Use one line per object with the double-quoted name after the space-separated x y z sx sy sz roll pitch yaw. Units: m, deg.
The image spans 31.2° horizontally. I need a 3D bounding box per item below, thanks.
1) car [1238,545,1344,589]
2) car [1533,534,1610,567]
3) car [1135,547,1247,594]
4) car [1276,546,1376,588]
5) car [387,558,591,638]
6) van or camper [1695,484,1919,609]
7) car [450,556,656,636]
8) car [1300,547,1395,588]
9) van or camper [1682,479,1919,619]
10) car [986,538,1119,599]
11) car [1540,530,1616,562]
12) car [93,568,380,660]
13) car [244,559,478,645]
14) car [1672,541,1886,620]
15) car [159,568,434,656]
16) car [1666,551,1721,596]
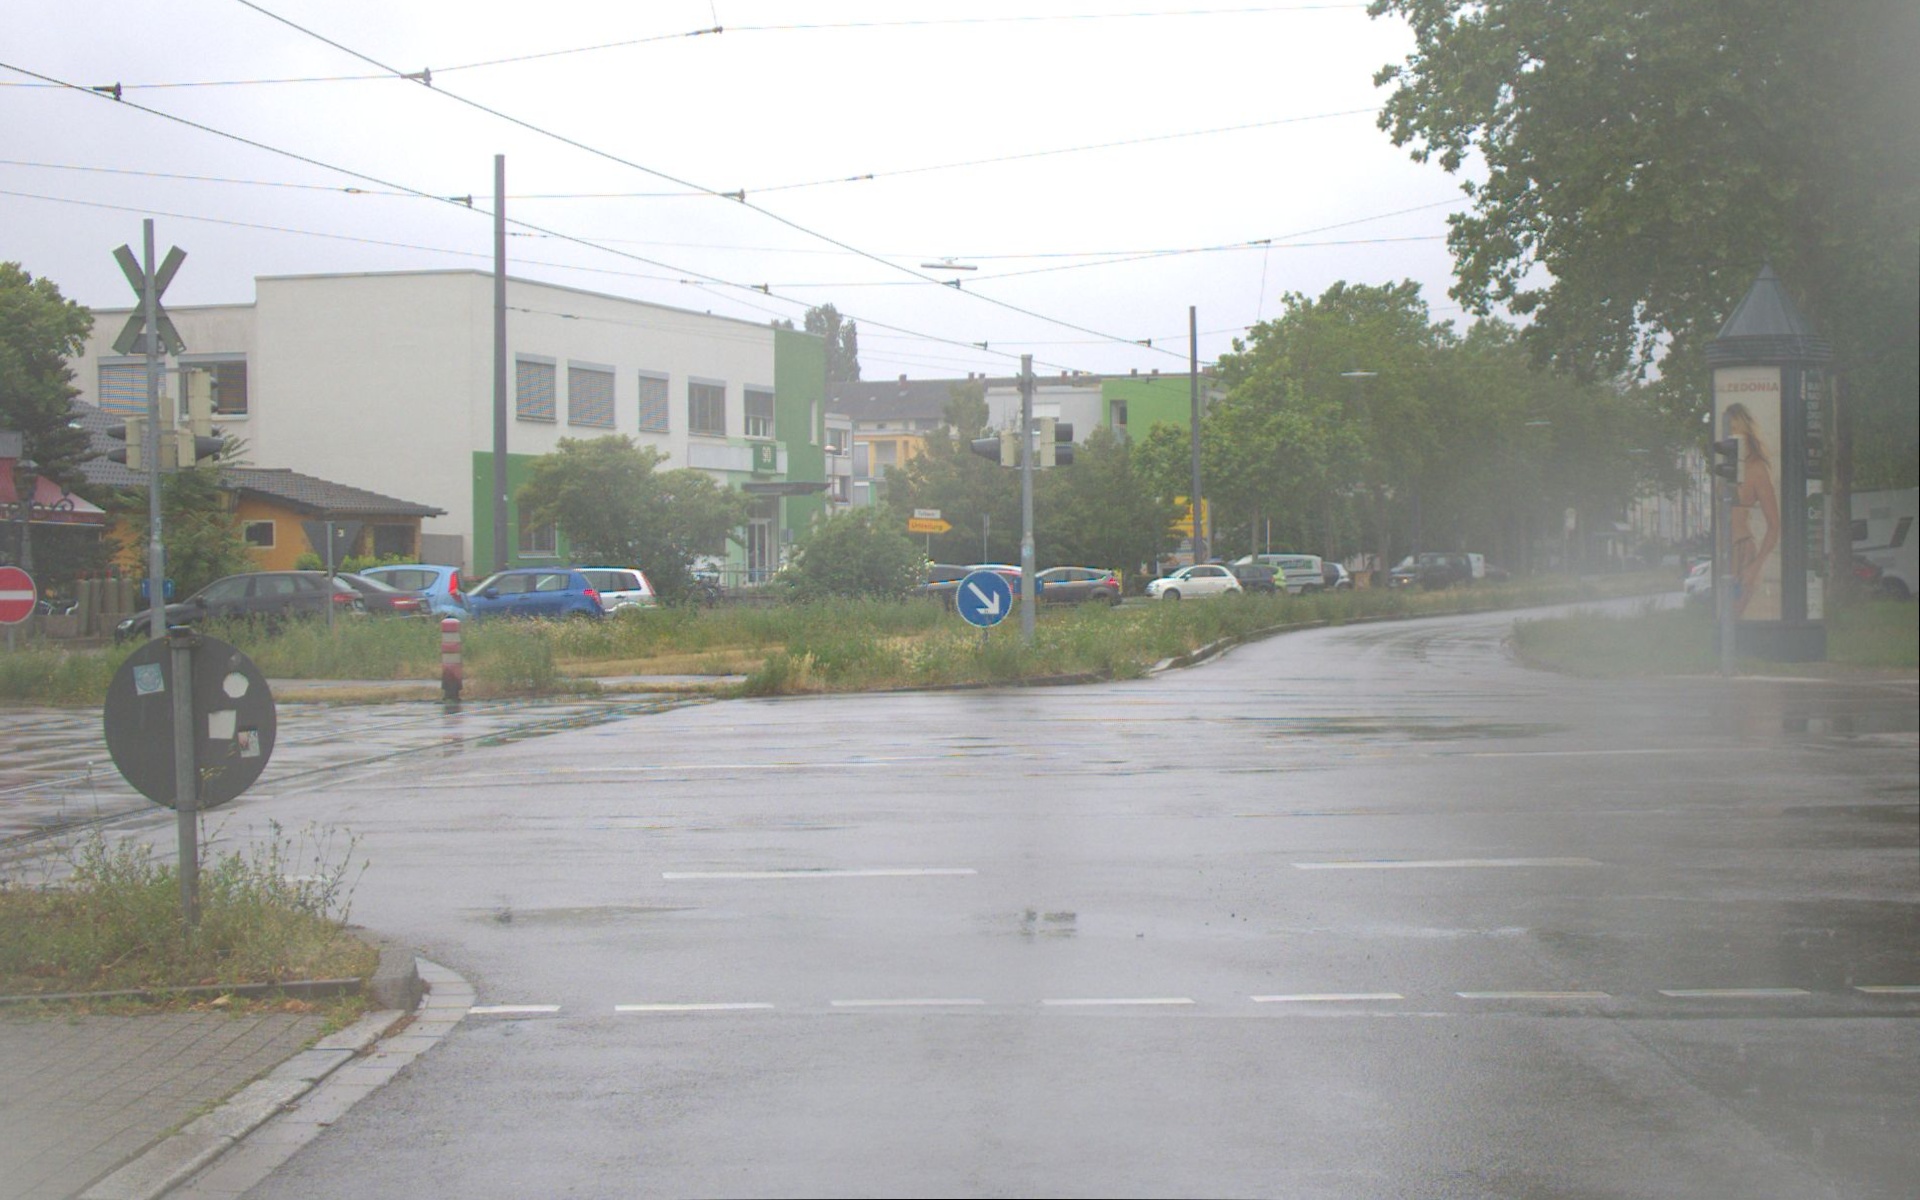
13.941 -1.392 144.884 3.986 1.752 2.011 1 0 -11 "car"
35.319 -2.876 198.685 3.986 1.826 2.000 1 0 -5 "car"
8.512 -1.086 126.769 3.773 1.697 1.837 1 0 -10 "car"
16.378 -1.485 153.847 3.986 1.826 2.001 1 0 -11 "car"
-9.570 -0.047 69.739 3.986 1.576 1.930 0 0 -11 "car"
23.239 -1.382 89.713 7.434 3.167 3.259 1 1 22 "van or camper"
-8.641 -0.095 72.914 4.107 1.635 1.930 -1 0 -14 "car"
17.899 -1.515 158.917 3.986 1.826 2.000 1 0 -5 "car"
20.833 -1.184 80.522 7.328 3.167 3.259 1 1 18 "van or camper"
2.946 -1.020 110.180 3.986 1.881 2.000 1 0 -7 "car"
36.568 -3.172 203.417 3.986 1.826 2.000 1 0 -5 "car"
-12.383 0.227 58.990 4.477 1.413 1.858 -2 0 1 "car"
-11.252 0.026 64.726 3.987 1.576 1.858 0 0 4 "car"
18.494 -0.448 77.588 4.449 1.711 1.998 1 1 21 "car"
-11.808 0.210 61.398 4.497 1.413 1.858 -2 0 1 "car"
28.458 -1.021 133.291 1.807 1.680 3.908 1 1 16 "car"
